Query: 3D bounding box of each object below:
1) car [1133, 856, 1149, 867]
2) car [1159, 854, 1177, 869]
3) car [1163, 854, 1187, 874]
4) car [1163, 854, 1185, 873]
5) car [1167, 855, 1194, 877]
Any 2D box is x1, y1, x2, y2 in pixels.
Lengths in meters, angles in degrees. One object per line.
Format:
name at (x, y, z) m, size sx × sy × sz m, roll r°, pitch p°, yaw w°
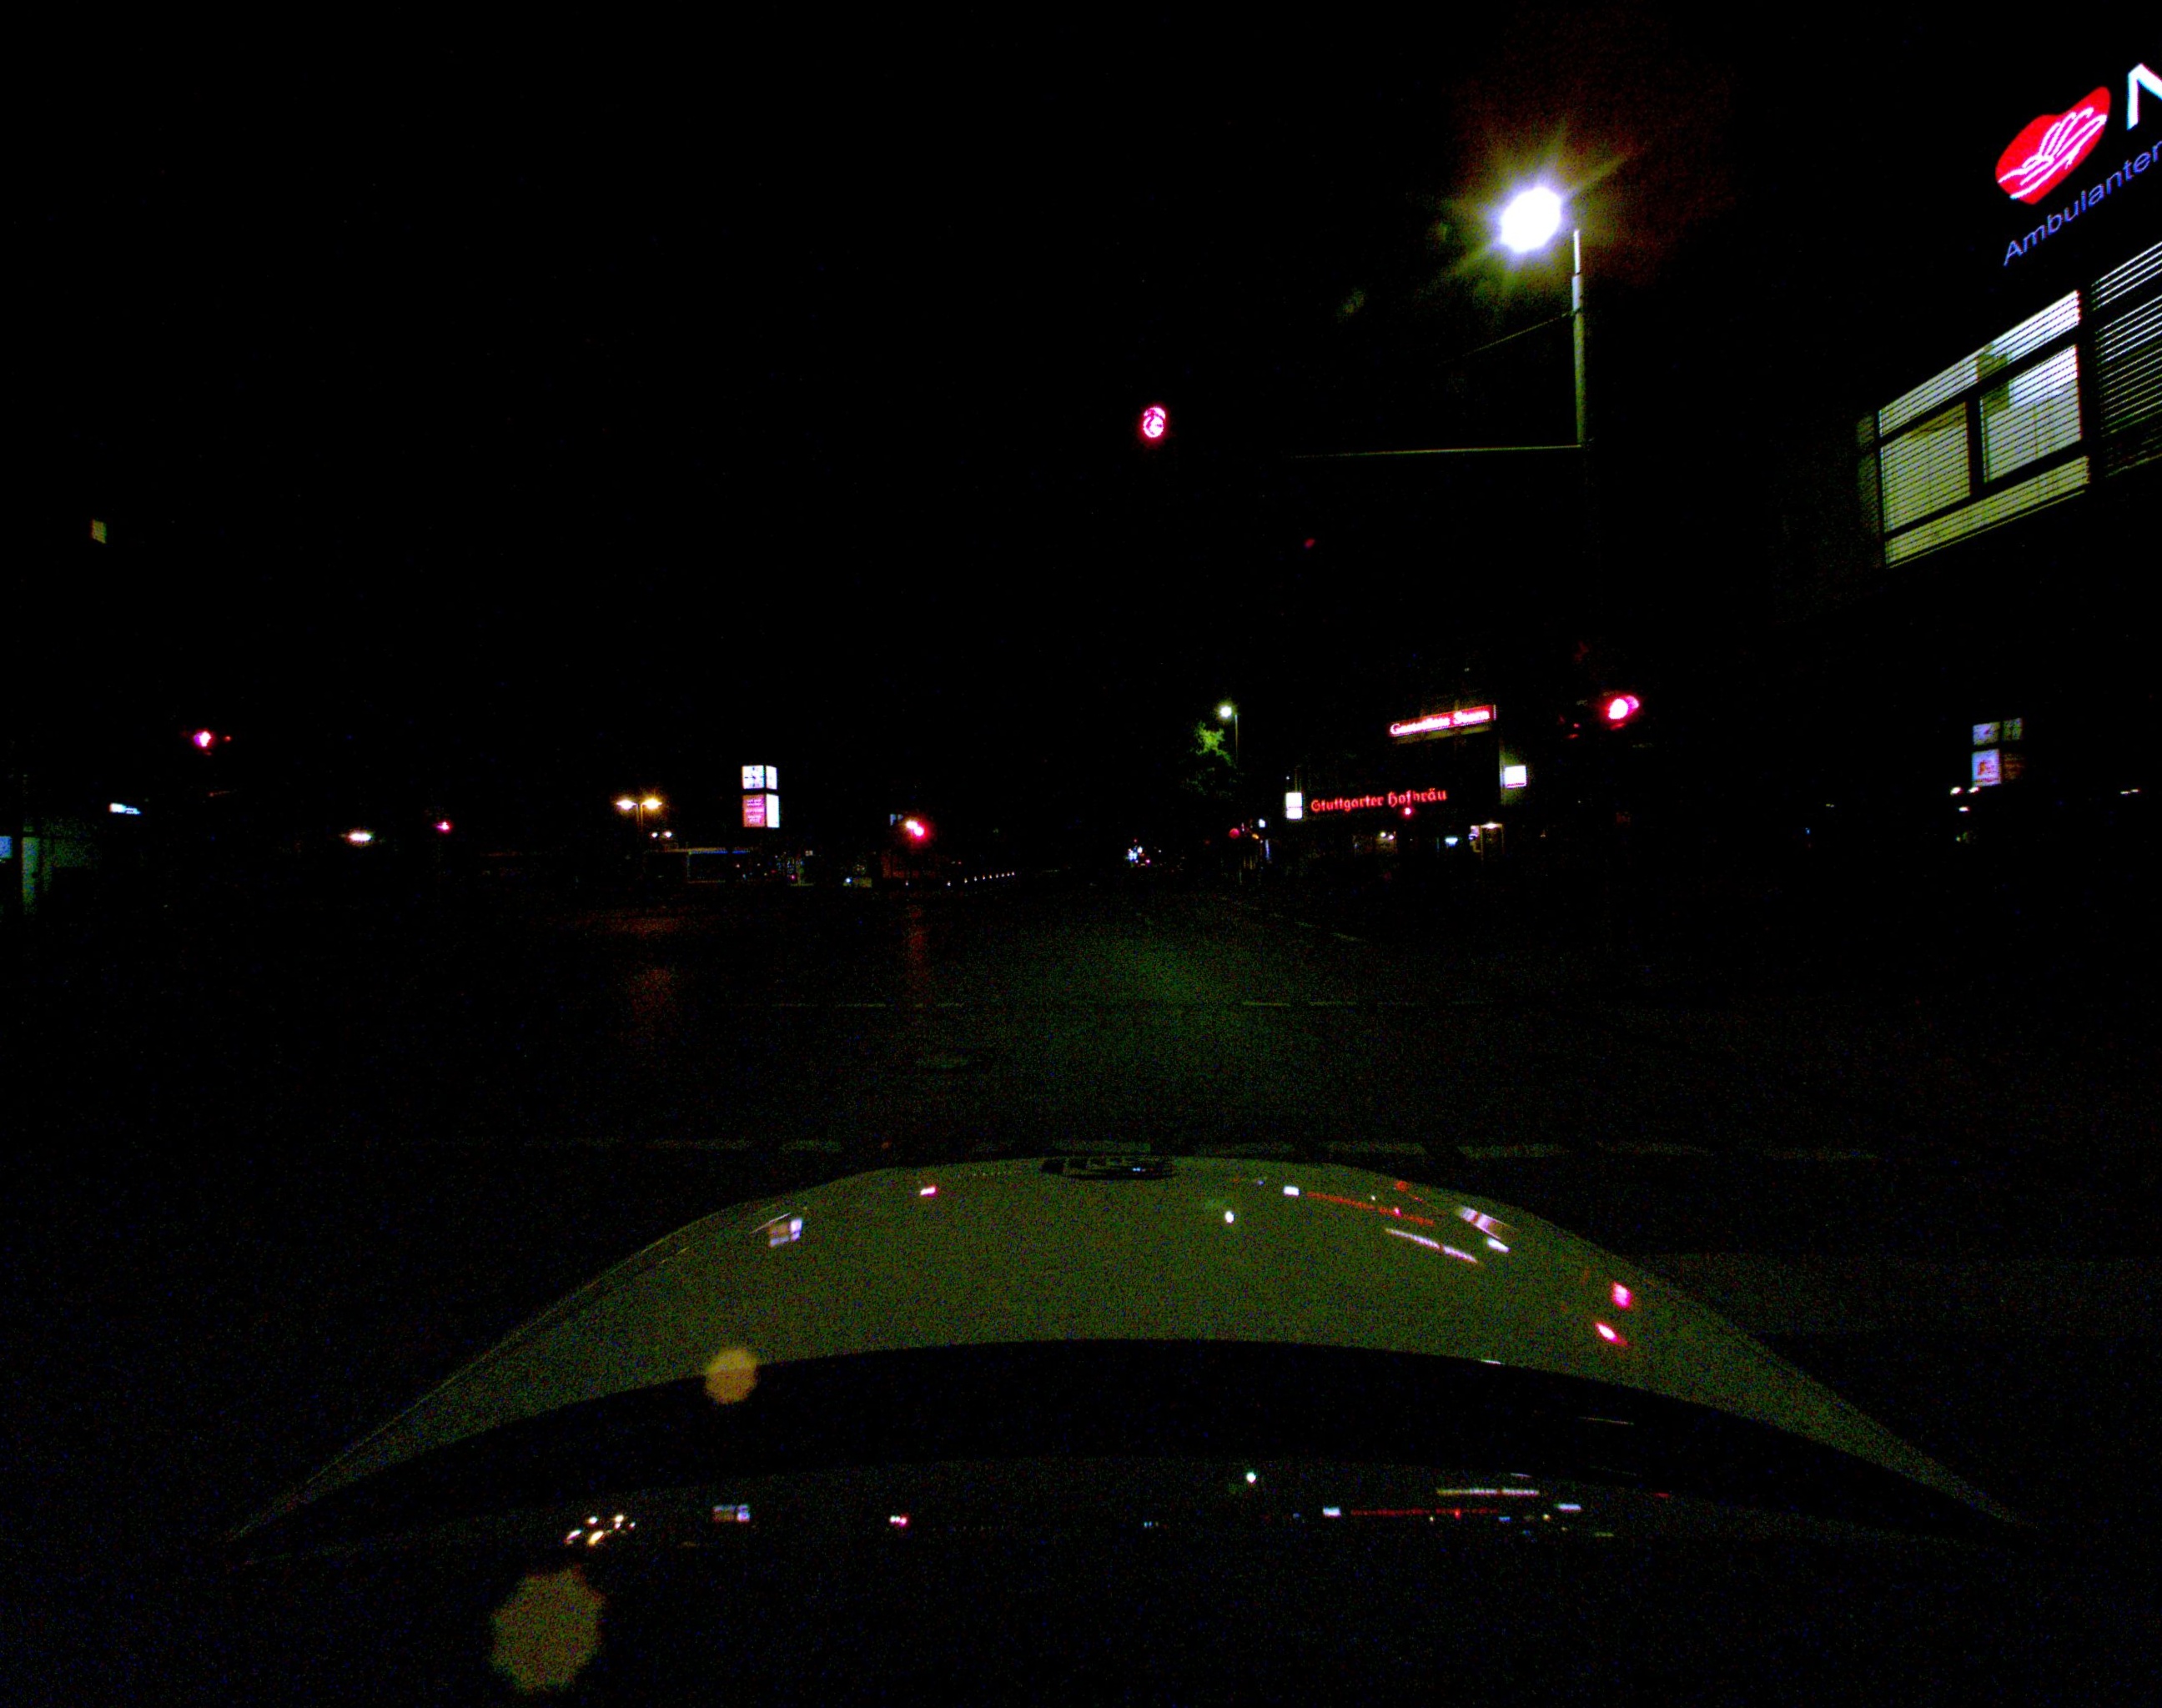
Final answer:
car at (7.579, 0.940, 102.949) m, size 1.865 × 1.454 × 4.321 m, roll 0°, pitch -1°, yaw 4°
car at (10.045, 0.883, 94.425) m, size 1.868 × 1.683 × 4.005 m, roll -2°, pitch -1°, yaw 5°
car at (7.880, 0.831, 68.764) m, size 1.868 × 1.615 × 4.005 m, roll -2°, pitch -1°, yaw 5°
car at (8.674, 0.878, 76.421) m, size 1.868 × 1.729 × 4.005 m, roll -2°, pitch -1°, yaw 5°
car at (7.709, 0.891, 63.556) m, size 1.868 × 1.615 × 4.005 m, roll -2°, pitch -1°, yaw 5°
